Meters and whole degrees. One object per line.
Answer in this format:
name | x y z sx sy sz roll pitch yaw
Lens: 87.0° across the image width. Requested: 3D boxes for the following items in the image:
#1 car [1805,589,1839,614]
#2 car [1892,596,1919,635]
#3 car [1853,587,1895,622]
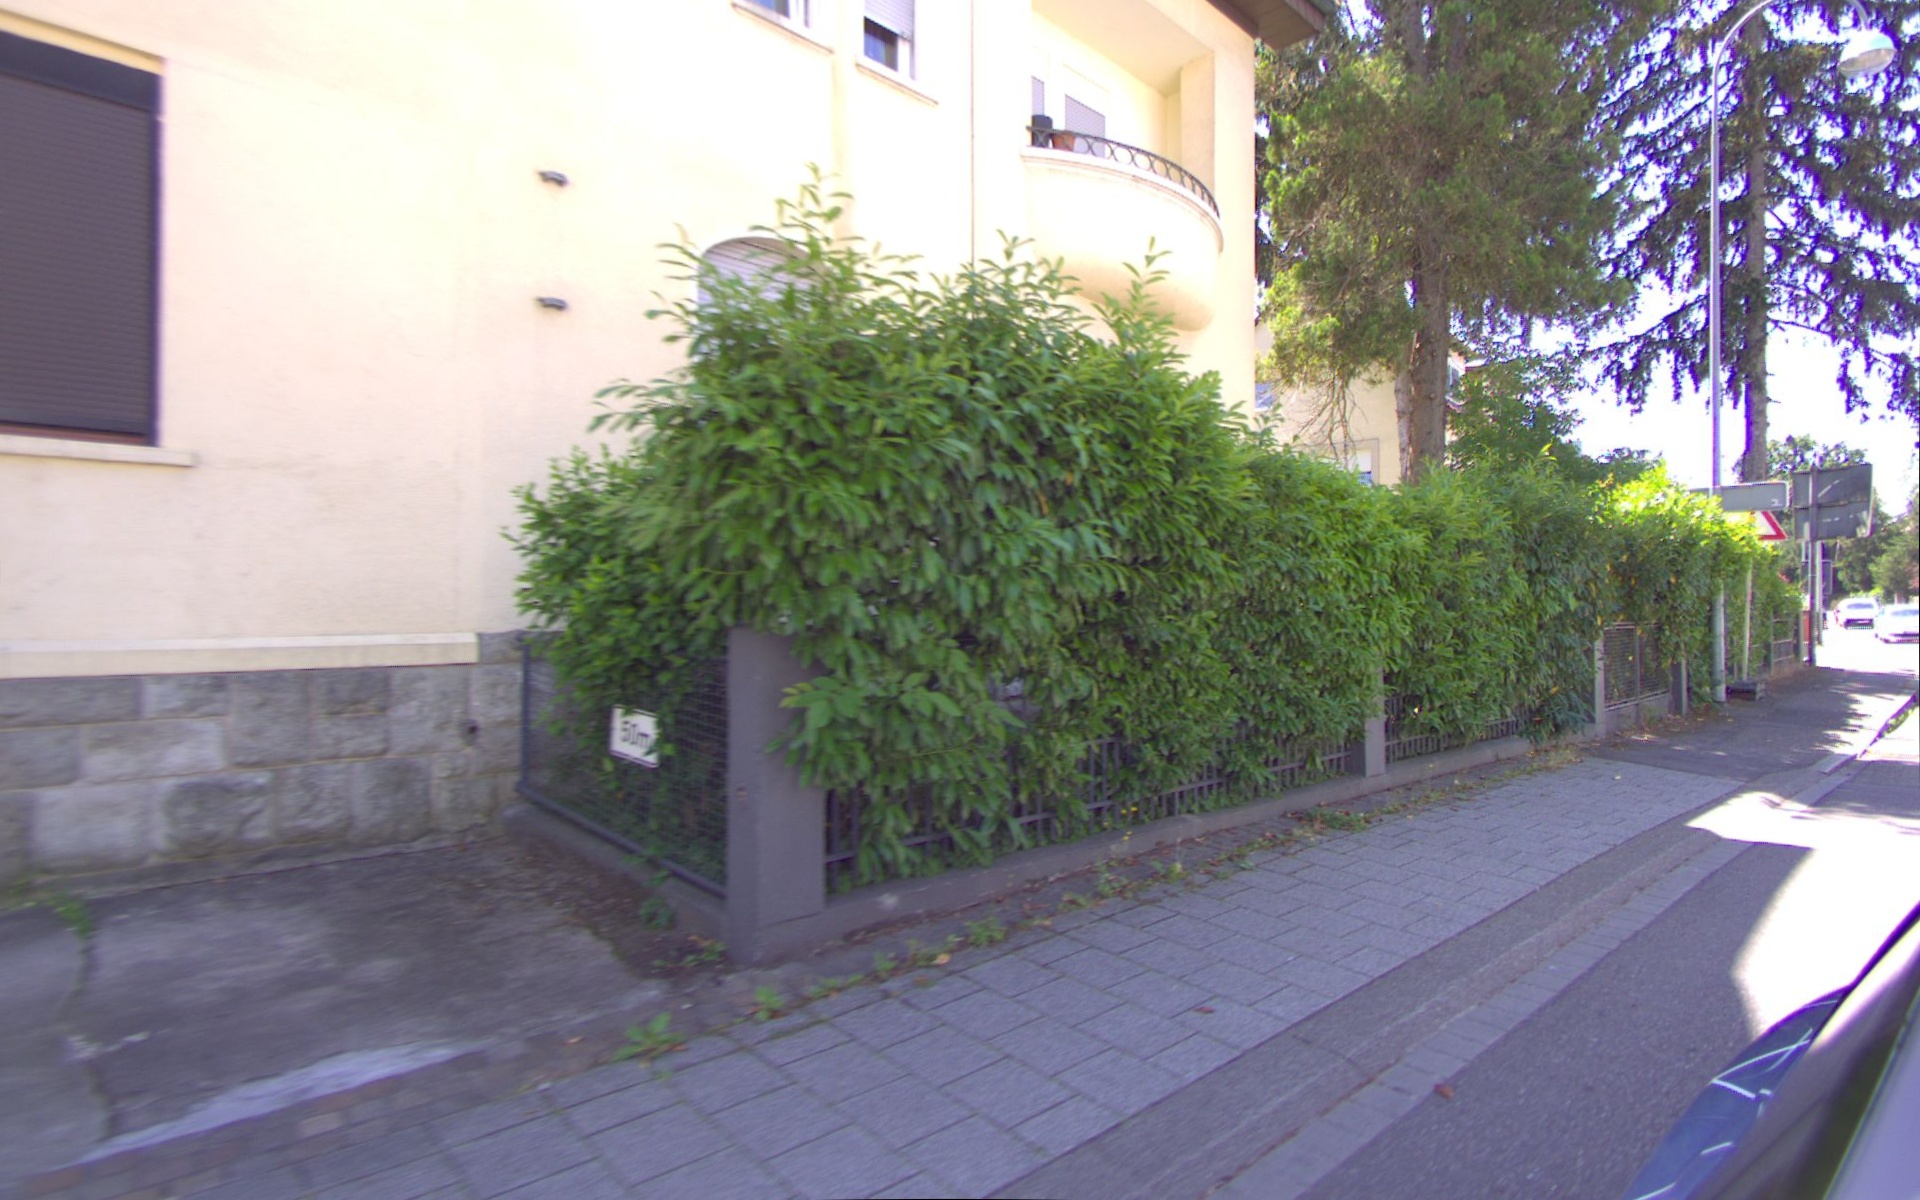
car | 66.957 0.116 78.635 1.680 1.802 3.887 -3 -1 37
car | 37.374 0.569 39.188 1.682 1.474 3.685 -3 -2 40
car | 52.865 0.233 58.600 1.683 1.801 3.882 -3 1 42
